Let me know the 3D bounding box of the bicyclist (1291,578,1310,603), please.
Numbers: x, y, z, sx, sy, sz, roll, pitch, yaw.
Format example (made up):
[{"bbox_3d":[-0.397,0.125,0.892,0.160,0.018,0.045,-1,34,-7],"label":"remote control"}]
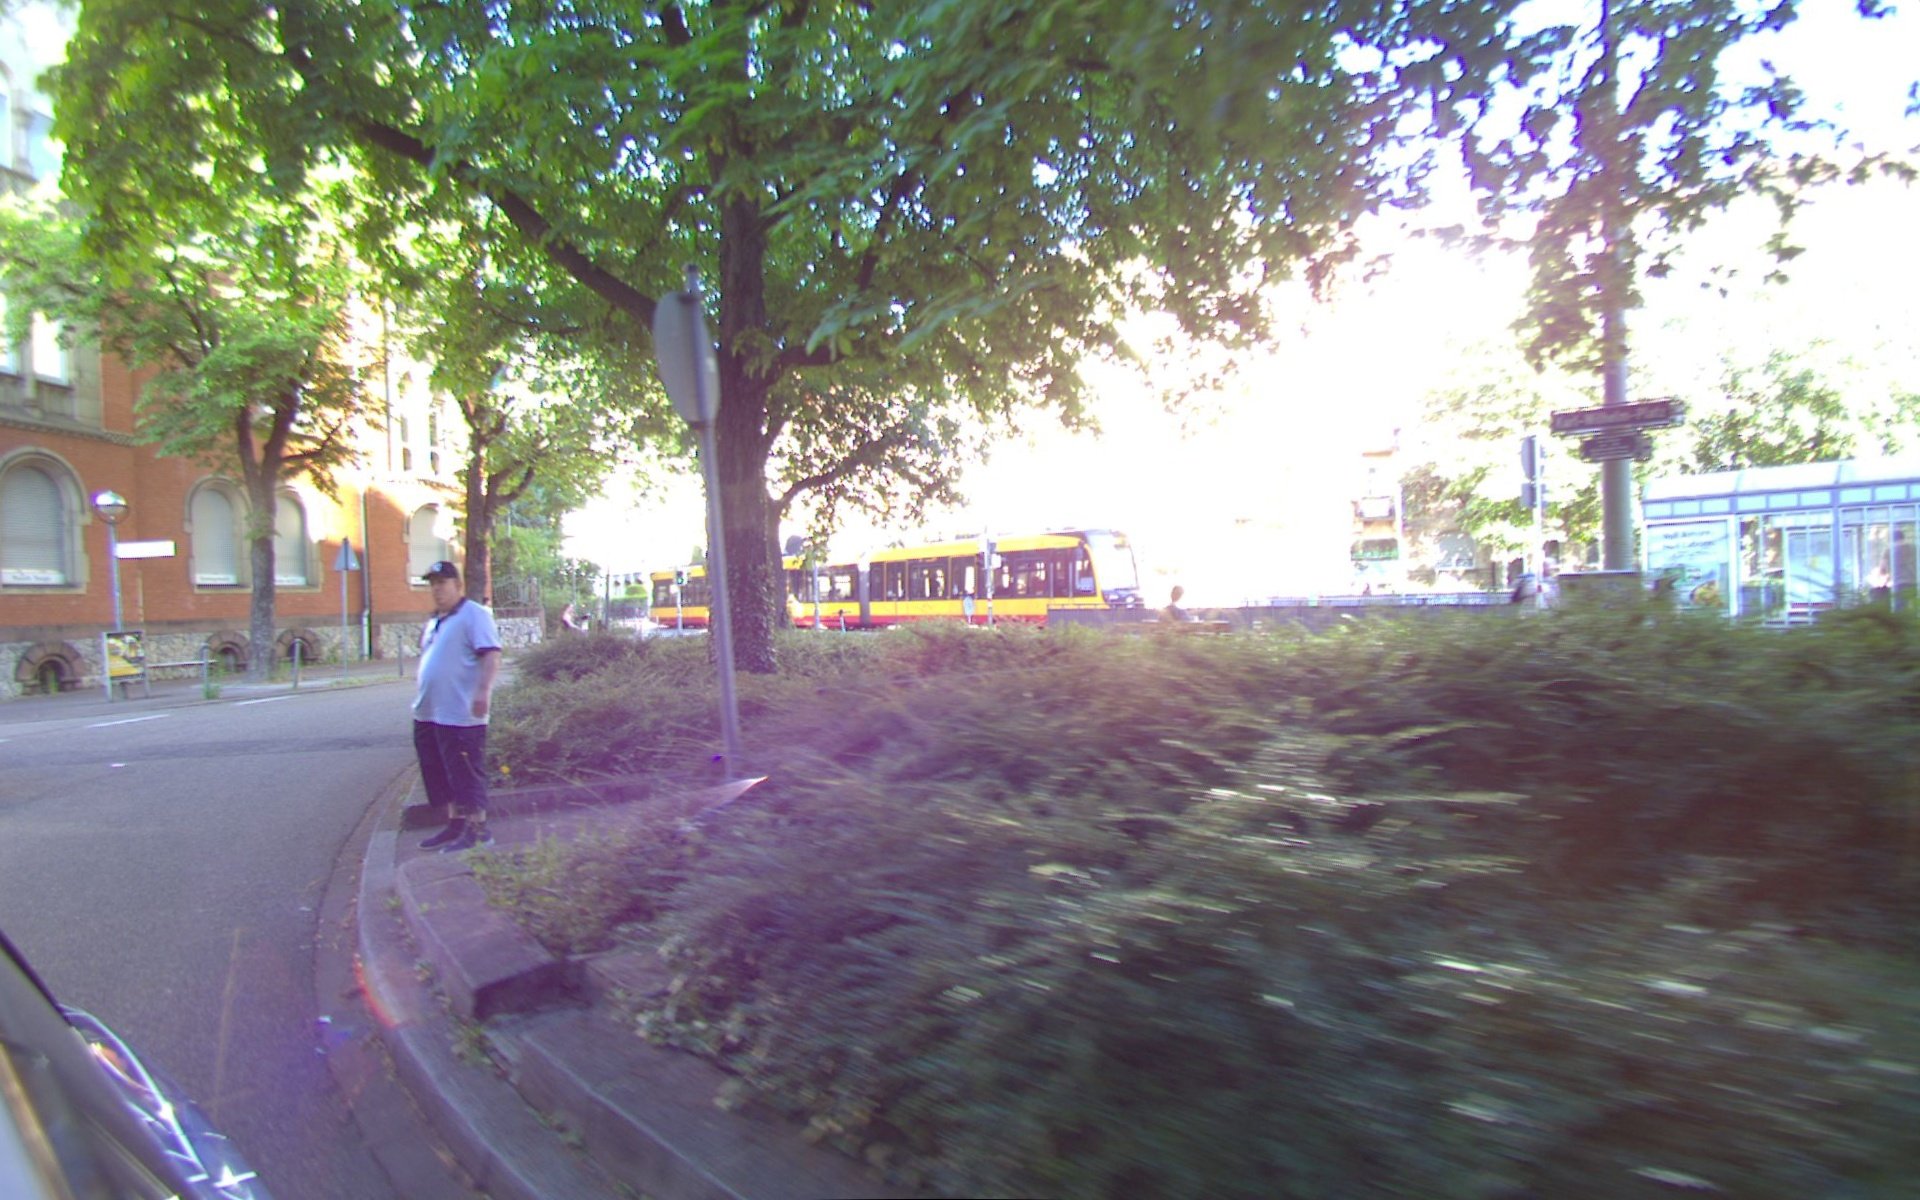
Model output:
[{"bbox_3d":[14.937,-0.412,44.347,0.669,1.062,0.610,-2,0,10],"label":"bicyclist"}]

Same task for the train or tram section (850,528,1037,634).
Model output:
[{"bbox_3d":[-0.837,-0.600,38.672,2.875,3.641,7.875,-2,0,-38],"label":"train or tram section"}]

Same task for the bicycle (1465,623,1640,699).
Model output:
[{"bbox_3d":[8.351,0.830,14.343,0.758,0.965,1.986,-2,0,-38],"label":"bicycle"}]

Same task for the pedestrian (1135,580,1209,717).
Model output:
[{"bbox_3d":[2.767,0.616,13.176,0.812,1.696,0.894,-2,0,17],"label":"pedestrian"}]

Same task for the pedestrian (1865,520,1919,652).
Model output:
[{"bbox_3d":[14.260,-0.216,15.042,0.898,1.912,1.022,-2,0,-39],"label":"pedestrian"}]

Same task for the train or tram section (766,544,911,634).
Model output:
[{"bbox_3d":[-5.499,-0.437,44.575,2.887,3.626,7.203,-3,1,-38],"label":"train or tram section"}]

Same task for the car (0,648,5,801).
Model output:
[{"bbox_3d":[-10.420,0.950,8.515,4.490,1.618,1.910,-2,0,25],"label":"car"}]

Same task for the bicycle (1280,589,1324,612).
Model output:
[{"bbox_3d":[14.959,0.011,44.354,1.724,0.953,0.652,-2,0,11],"label":"bicycle"}]

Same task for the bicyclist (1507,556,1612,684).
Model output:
[{"bbox_3d":[8.455,0.271,14.297,0.685,1.729,1.049,-2,0,-38],"label":"bicyclist"}]

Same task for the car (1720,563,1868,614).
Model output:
[{"bbox_3d":[31.124,-0.419,37.912,3.933,1.692,1.935,-2,0,30],"label":"car"}]

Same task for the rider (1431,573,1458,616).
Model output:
[{"bbox_3d":[19.707,-0.240,41.170,0.660,1.694,0.823,-2,2,-7],"label":"rider"}]

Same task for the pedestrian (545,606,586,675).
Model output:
[{"bbox_3d":[-9.592,0.963,24.600,0.840,1.617,0.603,-2,0,-17],"label":"pedestrian"}]

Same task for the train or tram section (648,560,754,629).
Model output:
[{"bbox_3d":[-14.422,-0.307,55.924,2.926,3.533,7.203,-3,1,-38],"label":"train or tram section"}]

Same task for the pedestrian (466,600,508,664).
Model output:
[{"bbox_3d":[-12.776,0.848,27.326,0.846,1.655,0.872,-2,0,-34],"label":"pedestrian"}]

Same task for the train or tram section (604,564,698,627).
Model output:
[{"bbox_3d":[-18.866,-0.244,61.573,2.926,3.533,7.203,-3,1,-38],"label":"train or tram section"}]

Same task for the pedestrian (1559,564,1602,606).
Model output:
[{"bbox_3d":[29.596,-0.689,48.278,1.484,1.926,1.251,-2,0,22],"label":"pedestrian"}]

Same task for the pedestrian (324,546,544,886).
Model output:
[{"bbox_3d":[-2.877,0.588,5.636,0.768,1.696,0.920,-2,0,-7],"label":"pedestrian"}]

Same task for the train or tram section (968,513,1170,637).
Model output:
[{"bbox_3d":[3.418,-0.724,33.260,2.875,3.668,6.359,-2,0,-38],"label":"train or tram section"}]

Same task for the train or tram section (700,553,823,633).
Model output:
[{"bbox_3d":[-9.971,-0.348,50.242,2.892,3.617,7.203,-3,1,-38],"label":"train or tram section"}]
